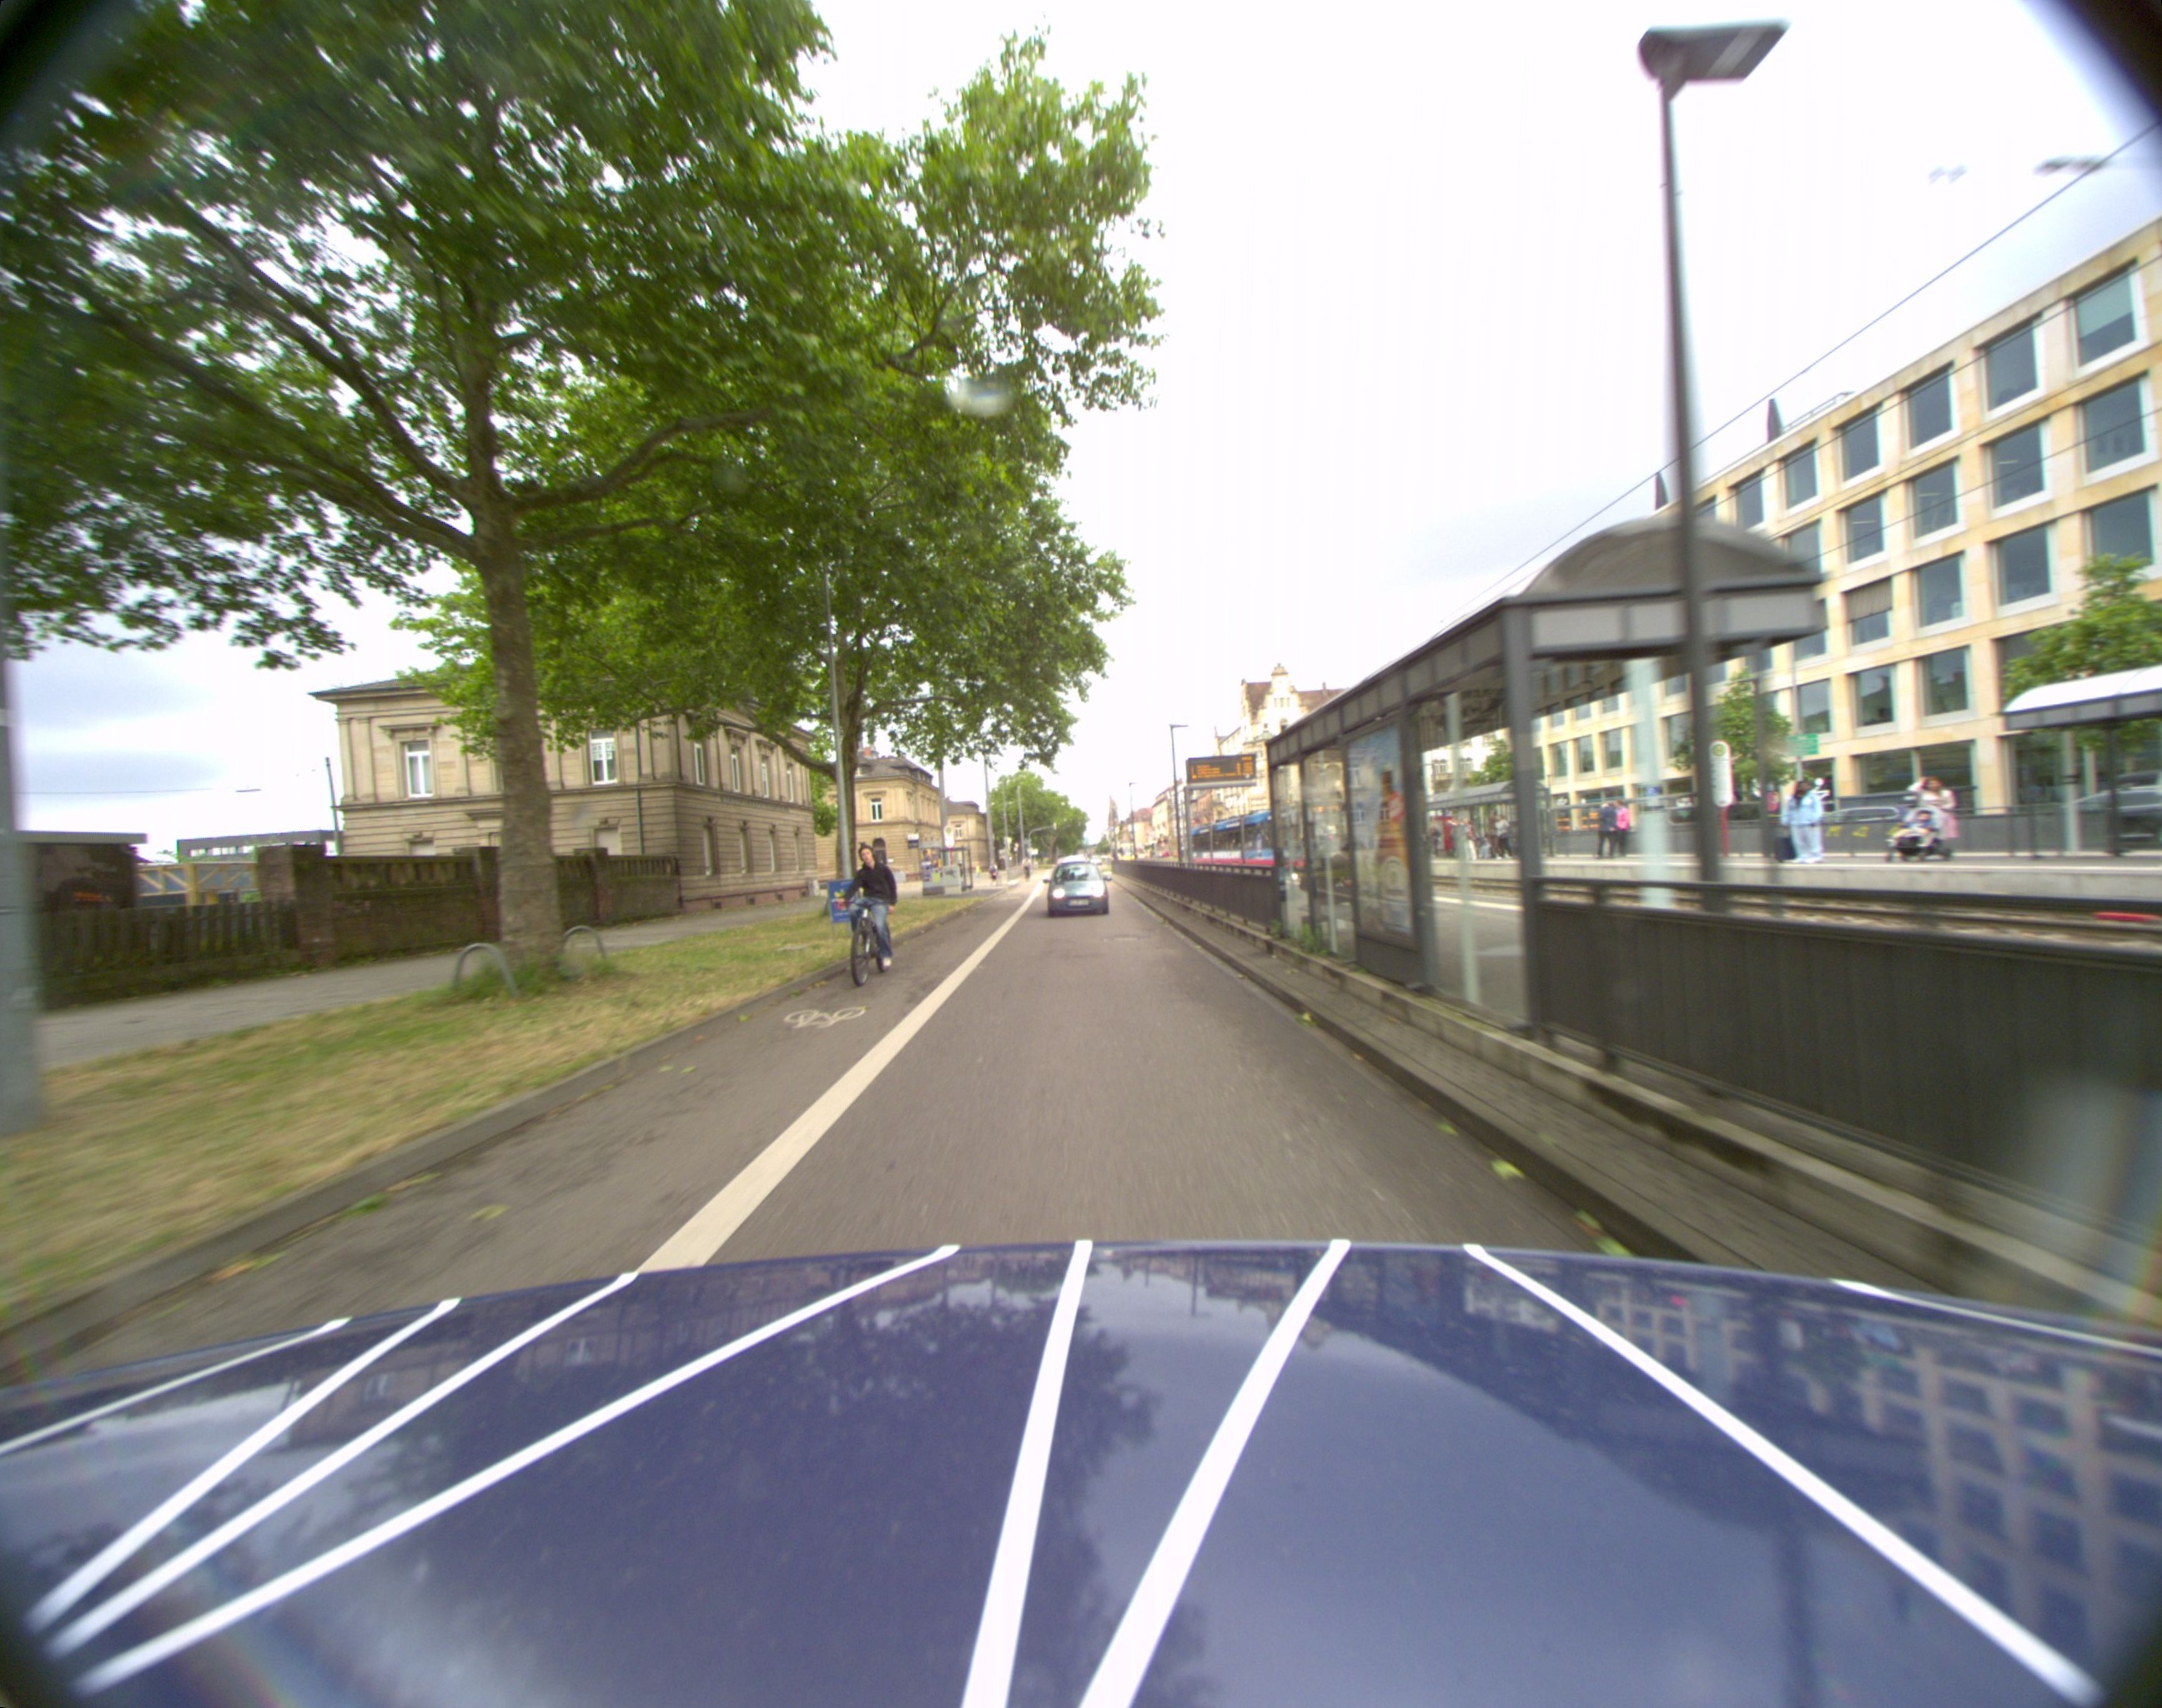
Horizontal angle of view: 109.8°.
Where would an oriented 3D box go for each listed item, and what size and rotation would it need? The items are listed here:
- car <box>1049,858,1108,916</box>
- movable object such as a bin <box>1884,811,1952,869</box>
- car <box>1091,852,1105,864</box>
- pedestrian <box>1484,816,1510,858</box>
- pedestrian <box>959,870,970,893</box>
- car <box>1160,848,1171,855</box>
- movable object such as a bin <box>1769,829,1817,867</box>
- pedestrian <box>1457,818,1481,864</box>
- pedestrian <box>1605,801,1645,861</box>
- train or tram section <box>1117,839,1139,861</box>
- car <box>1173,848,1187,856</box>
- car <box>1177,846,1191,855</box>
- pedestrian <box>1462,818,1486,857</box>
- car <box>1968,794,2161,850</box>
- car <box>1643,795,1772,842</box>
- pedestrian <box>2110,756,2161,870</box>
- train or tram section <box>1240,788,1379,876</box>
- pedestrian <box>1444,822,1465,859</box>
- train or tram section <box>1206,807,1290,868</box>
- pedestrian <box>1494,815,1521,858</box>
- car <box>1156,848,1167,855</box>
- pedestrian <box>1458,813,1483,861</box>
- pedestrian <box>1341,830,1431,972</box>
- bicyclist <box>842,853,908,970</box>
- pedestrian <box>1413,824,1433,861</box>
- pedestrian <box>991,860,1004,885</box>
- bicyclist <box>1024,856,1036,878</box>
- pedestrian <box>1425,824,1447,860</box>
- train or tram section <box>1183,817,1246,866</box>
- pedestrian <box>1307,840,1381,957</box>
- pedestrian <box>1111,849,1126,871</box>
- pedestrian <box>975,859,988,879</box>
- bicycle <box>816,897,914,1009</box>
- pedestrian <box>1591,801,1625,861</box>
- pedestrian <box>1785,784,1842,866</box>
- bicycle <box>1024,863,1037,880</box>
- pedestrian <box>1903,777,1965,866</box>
[{"bbox_3d":[-0.030,0.903,22.408,1.534,1.464,3.353,-3,1,1],"label":"car"},{"bbox_3d":[15.421,-0.253,14.004,0.622,1.015,0.721,-5,1,-33],"label":"movable object such as a bin"},{"bbox_3d":[2.611,0.535,116.013,1.869,1.630,3.774,-4,1,-2],"label":"car"},{"bbox_3d":[16.324,-0.671,29.815,0.589,1.579,0.596,-4,1,-19],"label":"pedestrian"},{"bbox_3d":[-6.647,1.577,43.319,0.478,1.227,0.702,-4,1,-1],"label":"pedestrian"},{"bbox_3d":[20.337,-0.710,183.692,1.999,1.587,3.998,-4,1,-3],"label":"car"},{"bbox_3d":[14.836,-0.129,15.834,0.536,0.743,0.469,-4,1,7],"label":"movable object such as a bin"},{"bbox_3d":[15.335,-0.517,30.030,0.596,1.759,0.588,-4,1,7],"label":"pedestrian"},{"bbox_3d":[17.280,-0.728,24.143,0.700,1.844,0.721,-4,1,7],"label":"pedestrian"},{"bbox_3d":[7.984,-0.685,129.868,2.651,3.417,13.616,-4,1,0],"label":"train or tram section"},{"bbox_3d":[20.675,-0.365,158.685,1.999,1.587,3.998,-4,1,-3],"label":"car"},{"bbox_3d":[20.573,-0.716,151.794,1.999,1.587,3.998,-4,1,-3],"label":"car"},{"bbox_3d":[16.385,-0.697,31.678,0.589,1.579,0.596,-4,1,-19],"label":"pedestrian"},{"bbox_3d":[25.004,-0.782,18.610,1.901,1.220,4.000,-4,1,2],"label":"car"},{"bbox_3d":[25.364,-1.370,30.970,1.998,1.652,4.000,-4,1,2],"label":"car"},{"bbox_3d":[16.416,-0.634,11.236,1.040,1.676,0.939,-4,1,3],"label":"pedestrian"},{"bbox_3d":[11.451,-1.027,40.161,2.862,3.671,13.517,-4,1,-1],"label":"train or tram section"},{"bbox_3d":[16.601,-0.585,33.784,0.589,1.579,0.596,-5,2,-43],"label":"pedestrian"},{"bbox_3d":[11.280,-1.087,52.779,2.862,3.619,11.697,-4,1,-1],"label":"train or tram section"},{"bbox_3d":[16.226,-0.654,28.892,0.589,1.579,0.596,-4,1,-19],"label":"pedestrian"},{"bbox_3d":[20.193,-0.719,189.848,1.999,1.587,3.998,-4,1,-3],"label":"car"},{"bbox_3d":[14.807,-0.649,28.864,0.596,1.759,0.588,-4,1,7],"label":"pedestrian"},{"bbox_3d":[3.132,0.465,7.837,0.612,1.364,0.600,-4,1,0],"label":"pedestrian"},{"bbox_3d":[-2.849,0.770,10.544,0.642,1.522,0.664,-4,1,-2],"label":"bicyclist"},{"bbox_3d":[15.093,-0.492,33.567,0.596,1.579,0.588,-4,1,7],"label":"pedestrian"},{"bbox_3d":[-5.340,1.184,48.595,0.552,1.520,0.639,-3,1,17],"label":"pedestrian"},{"bbox_3d":[-3.869,0.956,57.624,0.812,1.591,1.189,-4,1,-2],"label":"bicyclist"},{"bbox_3d":[16.078,-0.532,34.452,0.589,1.579,0.596,-4,1,-19],"label":"pedestrian"},{"bbox_3d":[11.070,-1.024,64.472,2.862,3.619,11.762,-4,1,-1],"label":"train or tram section"},{"bbox_3d":[3.141,0.515,9.124,0.612,1.333,0.600,-4,1,0],"label":"pedestrian"},{"bbox_3d":[2.912,0.460,59.402,0.862,1.633,0.651,-5,2,-42],"label":"pedestrian"},{"bbox_3d":[-8.754,1.335,66.914,0.720,1.668,1.000,-4,1,10],"label":"pedestrian"},{"bbox_3d":[-2.811,1.243,10.161,0.654,1.143,2.282,-4,1,-2],"label":"bicycle"},{"bbox_3d":[15.863,-0.689,22.866,0.589,1.759,0.596,-5,2,-37],"label":"pedestrian"},{"bbox_3d":[14.752,-0.578,15.310,0.536,1.598,0.565,-4,1,7],"label":"pedestrian"},{"bbox_3d":[-3.839,1.310,57.733,0.815,1.163,2.276,-4,1,-2],"label":"bicycle"},{"bbox_3d":[15.956,-0.602,14.215,0.580,1.598,0.655,-5,1,-33],"label":"pedestrian"}]
